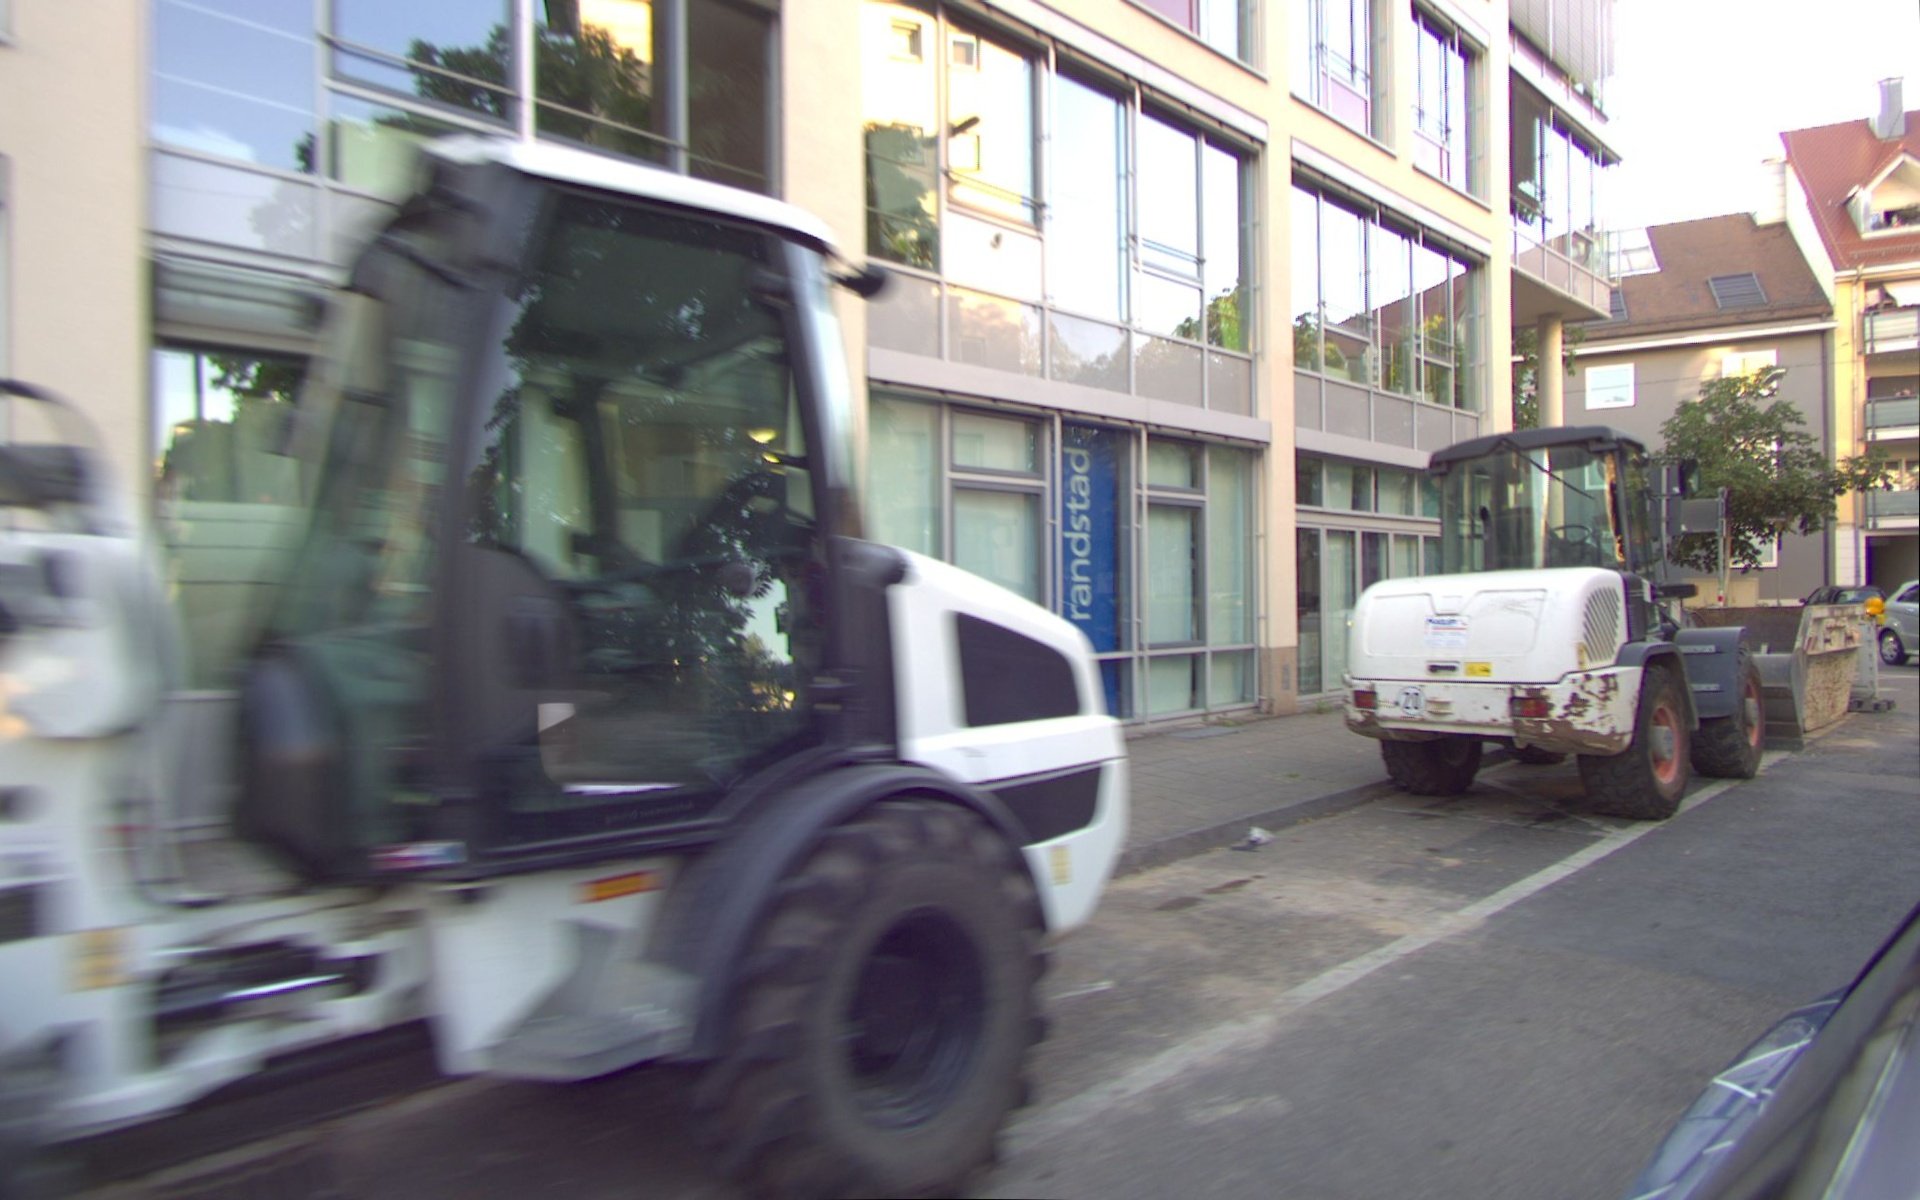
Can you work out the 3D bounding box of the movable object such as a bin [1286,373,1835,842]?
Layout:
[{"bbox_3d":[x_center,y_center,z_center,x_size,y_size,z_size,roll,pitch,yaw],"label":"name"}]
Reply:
[{"bbox_3d":[5.212,0.020,8.326,5.649,2.657,2.019,-1,-2,-40],"label":"movable object such as a bin"}]

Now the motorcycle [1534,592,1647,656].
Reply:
[{"bbox_3d":[14.501,0.530,23.355,0.783,1.413,2.212,1,0,-20],"label":"motorcycle"}]

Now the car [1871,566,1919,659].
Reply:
[{"bbox_3d":[17.551,0.221,16.694,1.777,1.637,4.259,-1,1,11],"label":"car"}]

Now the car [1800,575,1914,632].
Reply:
[{"bbox_3d":[26.541,0.059,30.082,1.617,1.468,3.823,0,3,27],"label":"car"}]

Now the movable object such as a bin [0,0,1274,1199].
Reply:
[{"bbox_3d":[-1.897,0.136,2.055,5.648,2.657,2.019,0,-2,-40],"label":"movable object such as a bin"}]
